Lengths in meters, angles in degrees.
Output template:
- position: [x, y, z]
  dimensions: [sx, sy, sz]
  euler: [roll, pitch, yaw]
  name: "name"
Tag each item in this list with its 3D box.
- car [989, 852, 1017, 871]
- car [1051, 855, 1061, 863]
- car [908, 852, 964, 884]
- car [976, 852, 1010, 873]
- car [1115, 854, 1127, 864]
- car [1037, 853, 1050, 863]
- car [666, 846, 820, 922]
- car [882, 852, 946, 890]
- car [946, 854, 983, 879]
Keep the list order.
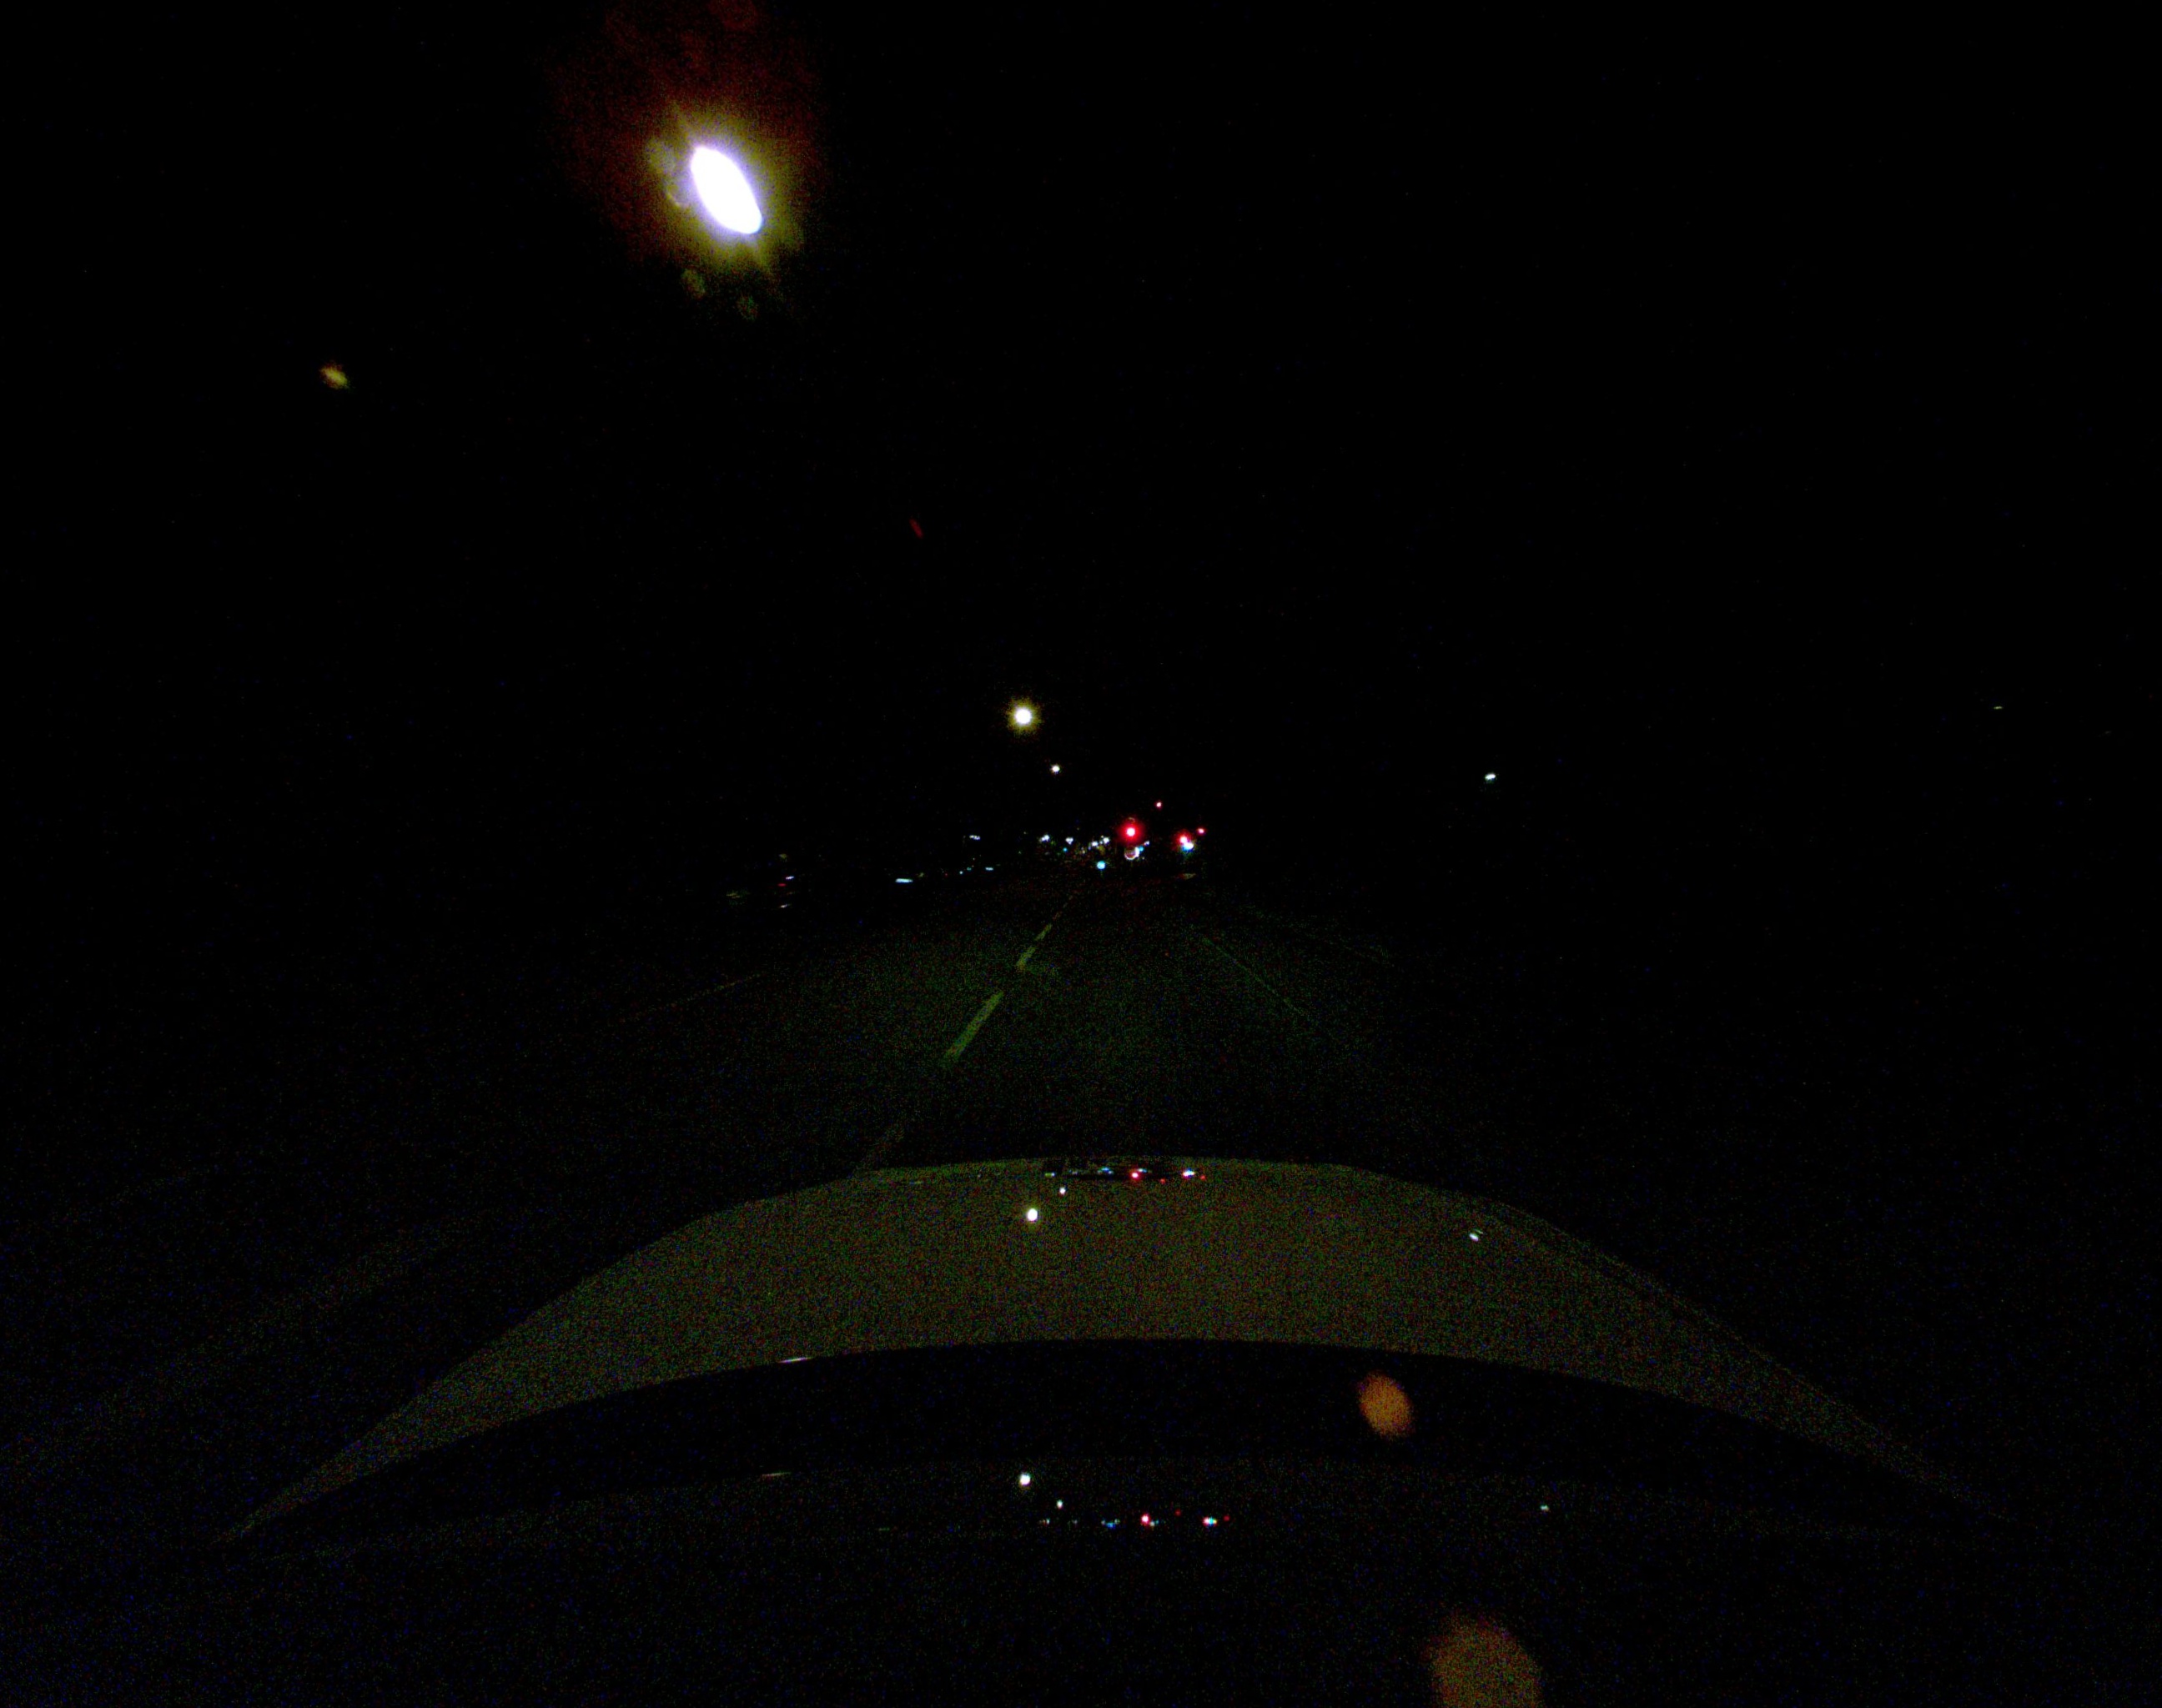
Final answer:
- position: [-6.328, 0.604, 66.275]
  dimensions: [1.797, 1.481, 4.323]
  euler: [1, 0, 1]
  name: "car"
- position: [-4.417, 0.869, 143.597]
  dimensions: [1.645, 1.431, 4.001]
  euler: [0, 0, 1]
  name: "car"
- position: [-7.000, 0.659, 39.777]
  dimensions: [1.762, 1.486, 4.864]
  euler: [1, 0, 1]
  name: "car"
- position: [-6.574, 0.621, 61.281]
  dimensions: [1.892, 1.471, 4.453]
  euler: [3, 0, 2]
  name: "car"
- position: [5.876, 0.739, 119.310]
  dimensions: [1.644, 1.431, 4.003]
  euler: [0, 0, 3]
  name: "car"
- position: [-5.336, 0.557, 116.970]
  dimensions: [1.645, 1.431, 4.001]
  euler: [0, 0, 1]
  name: "car"
- position: [-7.469, 0.618, 18.460]
  dimensions: [1.708, 1.494, 3.990]
  euler: [2, 0, 1]
  name: "car"
- position: [-7.025, 0.703, 34.733]
  dimensions: [1.762, 1.486, 4.766]
  euler: [1, 0, 0]
  name: "car"
- position: [-6.836, 0.729, 48.118]
  dimensions: [1.618, 1.383, 4.449]
  euler: [1, 0, -1]
  name: "car"
